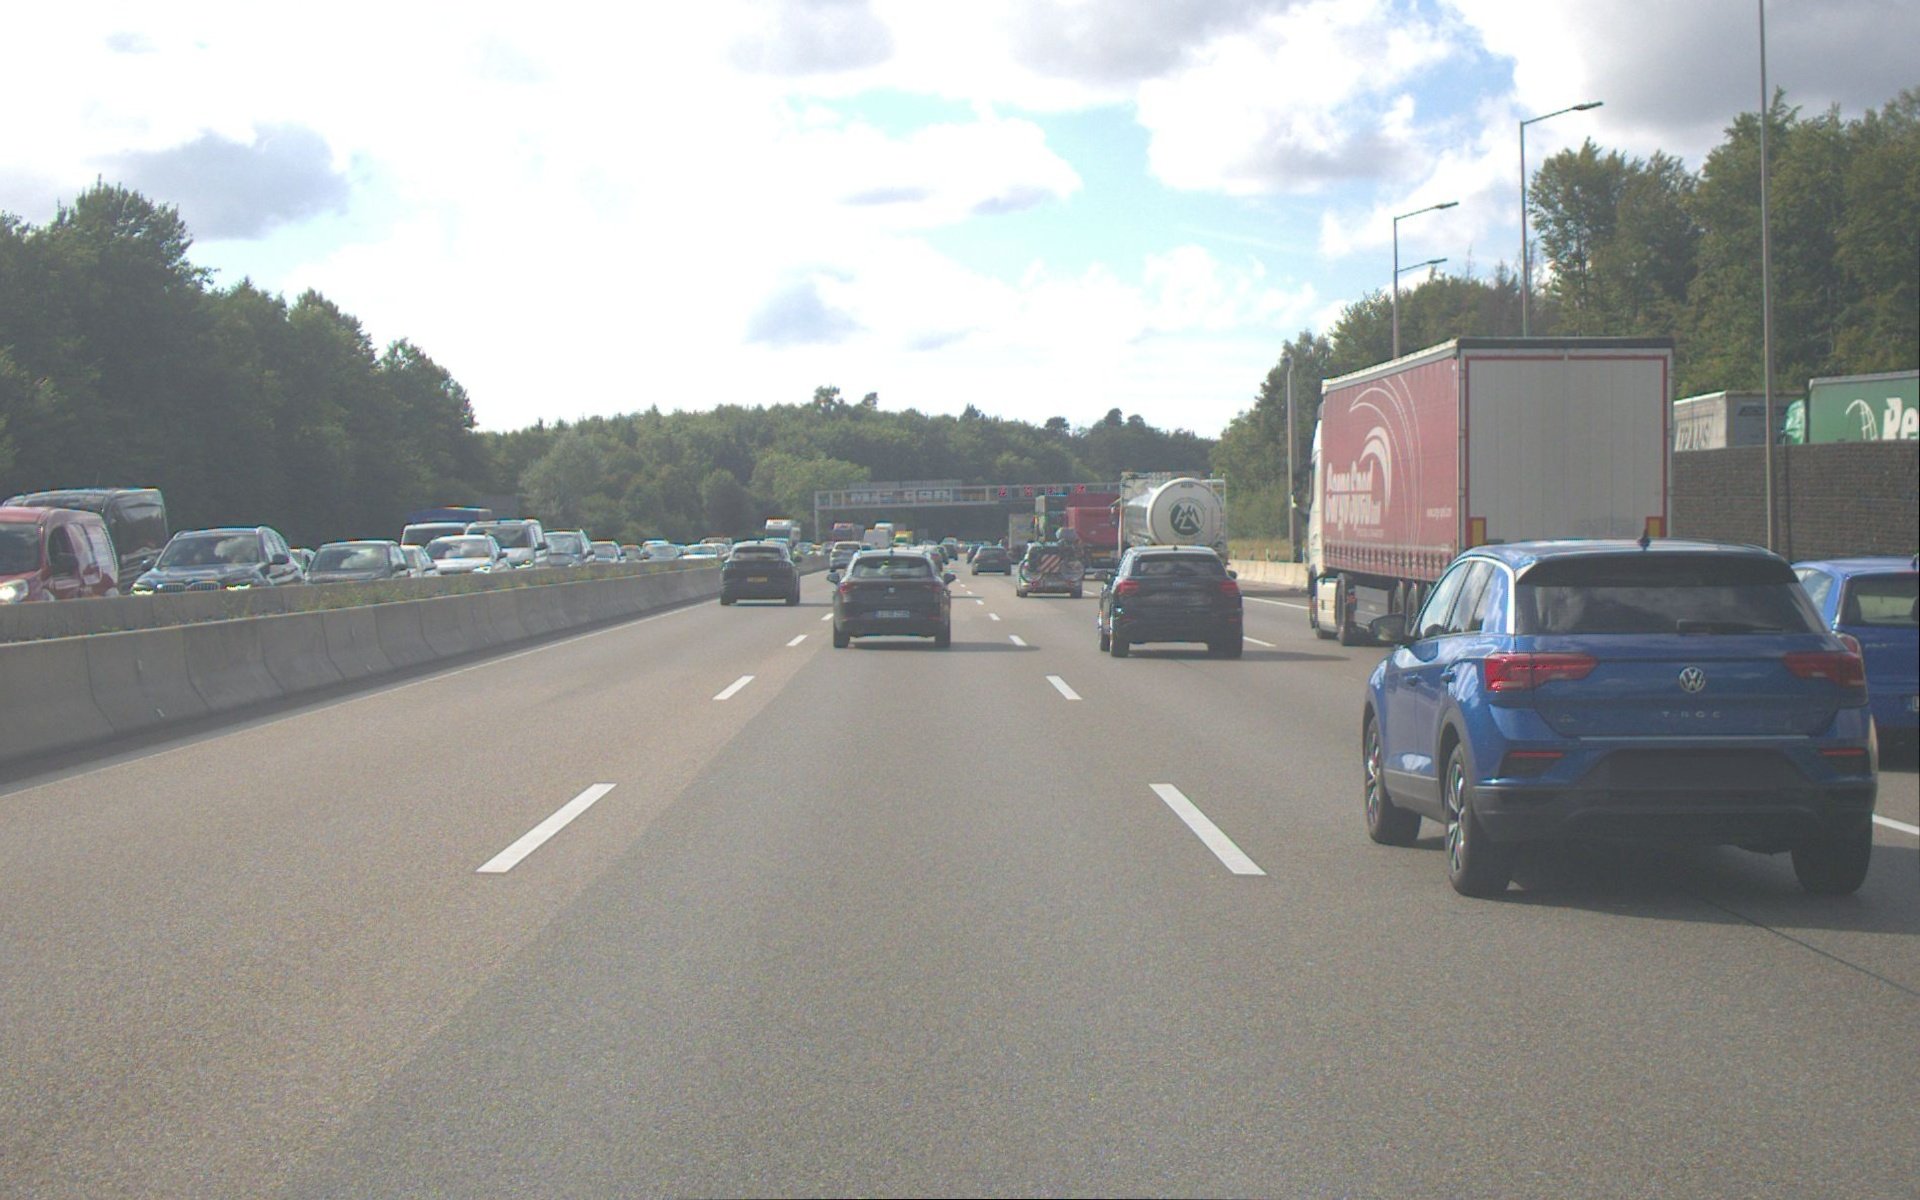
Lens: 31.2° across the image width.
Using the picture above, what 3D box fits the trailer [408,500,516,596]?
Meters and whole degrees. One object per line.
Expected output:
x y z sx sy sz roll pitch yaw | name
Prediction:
-15.102 -1.561 104.732 2.278 2.776 8.542 1 1 -2 | trailer

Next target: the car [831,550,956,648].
-1.033 -0.024 51.547 1.734 1.360 4.000 -2 0 -2 | car

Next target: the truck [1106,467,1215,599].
6.482 -2.107 112.130 3.045 4.146 7.127 0 0 0 | truck

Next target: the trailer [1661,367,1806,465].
19.697 -4.651 87.851 2.050 2.007 6.964 1 -1 -1 | trailer

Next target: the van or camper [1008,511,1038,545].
4.719 -5.422 258.364 2.083 2.484 4.225 0 1 -1 | van or camper

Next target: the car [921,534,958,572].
-1.136 -2.613 192.153 1.993 2.007 4.000 -1 -1 -1 | car

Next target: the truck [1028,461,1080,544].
4.580 -4.728 169.208 2.358 3.560 11.265 1 -1 1 | truck

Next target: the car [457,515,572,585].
-10.740 -1.214 83.275 1.993 1.567 5.329 2 1 1 | car

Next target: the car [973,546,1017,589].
1.694 -1.574 167.944 1.993 2.007 4.000 1 0 -1 | car

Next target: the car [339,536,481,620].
-10.650 -0.454 66.869 1.993 1.567 4.357 1 1 1 | car

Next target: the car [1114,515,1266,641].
3.135 -0.289 47.487 1.799 1.639 4.000 1 0 0 | car

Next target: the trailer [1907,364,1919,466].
20.367 -3.769 67.036 1.993 2.007 6.193 1 -1 -1 | trailer

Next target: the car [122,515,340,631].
-10.473 -0.413 49.788 1.993 1.567 5.207 1 1 1 | car

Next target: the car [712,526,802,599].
-5.064 -0.959 86.284 1.993 1.770 4.000 -1 1 0 | car

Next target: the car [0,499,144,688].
-9.674 -0.113 34.694 1.875 1.756 5.295 1 1 -3 | car

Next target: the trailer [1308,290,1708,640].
7.069 -1.484 46.836 3.038 4.021 13.890 1 -1 -1 | trailer

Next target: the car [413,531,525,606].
-10.632 -0.701 74.718 1.765 1.567 4.357 1 1 1 | car

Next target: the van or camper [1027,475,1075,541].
4.640 -4.678 176.484 2.351 3.133 5.710 1 -1 1 | van or camper

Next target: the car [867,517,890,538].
-6.017 -5.368 254.350 1.623 1.465 3.814 1 0 0 | car

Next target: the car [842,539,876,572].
-6.289 -2.753 214.217 1.993 2.007 4.001 1 1 -3 | car

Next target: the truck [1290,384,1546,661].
7.030 -1.104 53.594 3.080 4.050 6.069 1 -1 -1 | truck

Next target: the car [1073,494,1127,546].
5.780 -3.285 141.869 1.993 2.007 4.000 1 -1 -1 | car

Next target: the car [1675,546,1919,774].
6.538 0.395 24.968 1.715 1.506 4.302 -1 0 -1 | car

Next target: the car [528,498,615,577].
-10.569 -1.683 93.813 1.993 2.007 4.677 1 -1 -2 | car

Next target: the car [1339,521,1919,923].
3.006 0.441 16.257 1.924 1.536 4.646 1 2 1 | car

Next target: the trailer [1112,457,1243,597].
6.597 -2.131 106.030 3.036 4.002 12.245 0 0 -1 | trailer

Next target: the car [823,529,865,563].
-6.282 -2.912 186.661 2.154 1.770 4.000 1 0 0 | car

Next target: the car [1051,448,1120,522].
5.492 -5.030 151.491 2.866 2.981 5.149 1 -1 1 | car

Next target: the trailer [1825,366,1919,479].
20.187 -3.714 72.969 1.993 2.007 5.776 1 -1 -2 | trailer

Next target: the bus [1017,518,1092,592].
2.672 -1.262 98.061 1.993 2.007 4.000 1 -1 0 | bus
